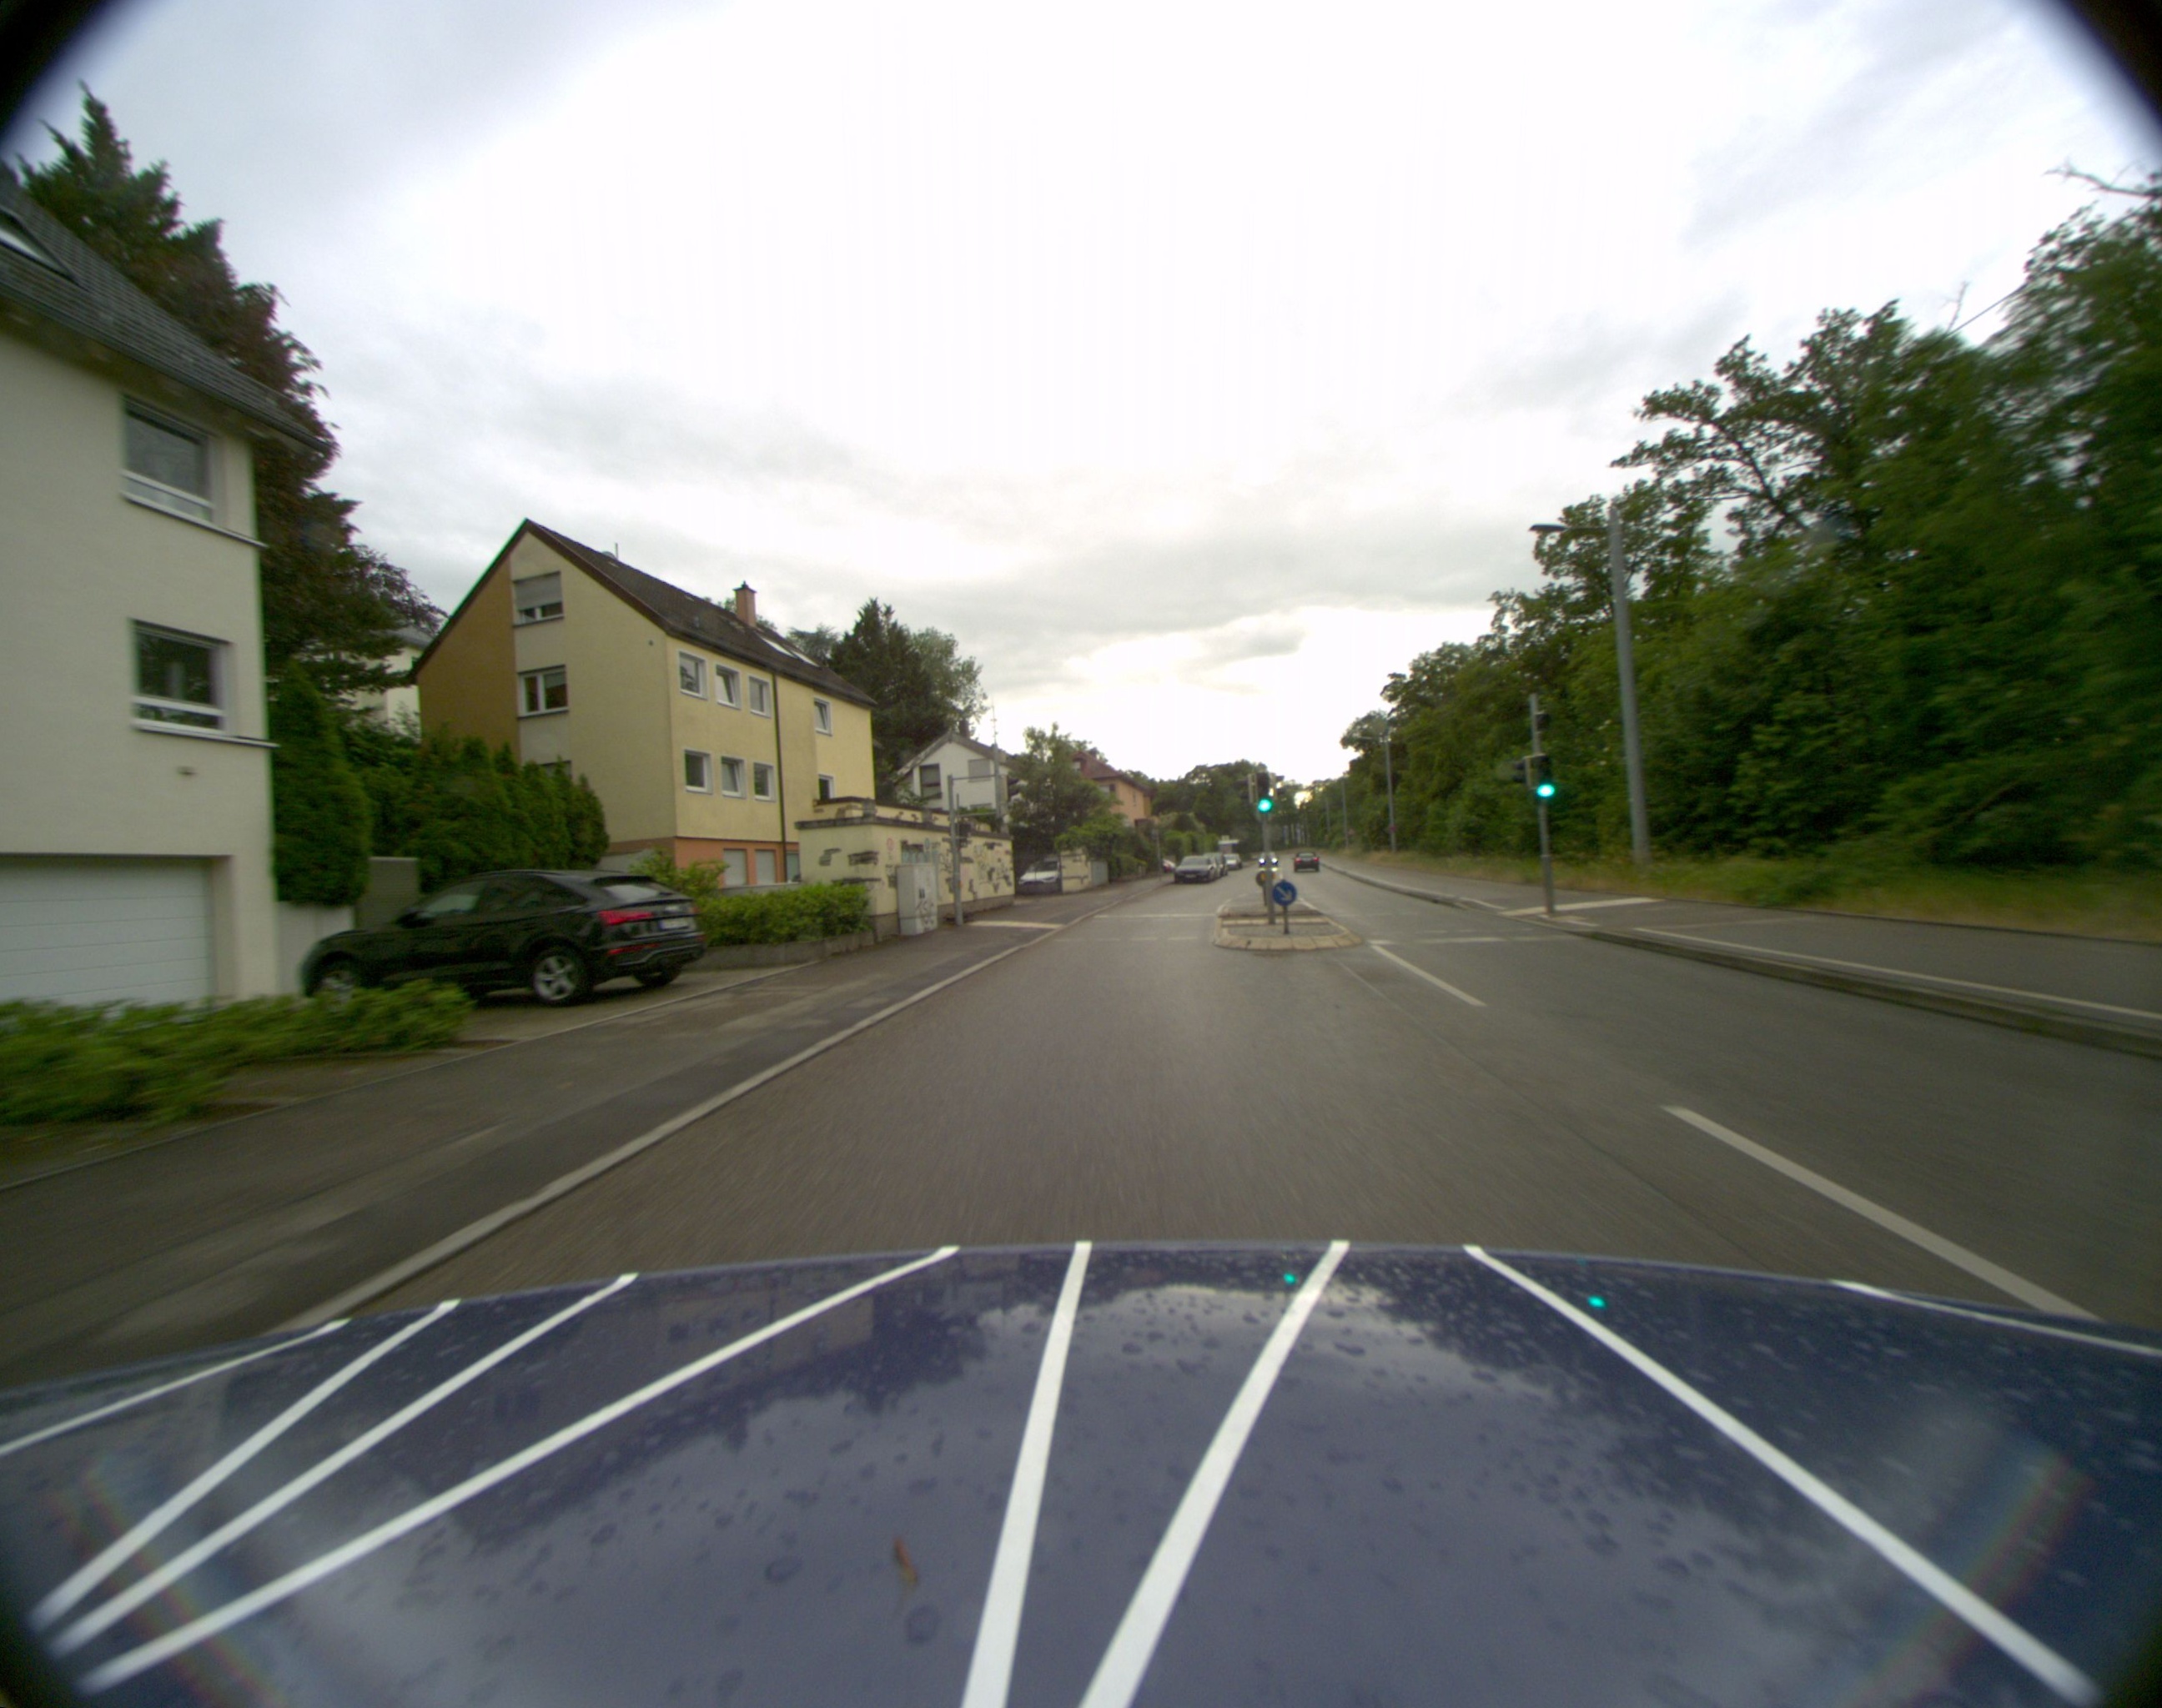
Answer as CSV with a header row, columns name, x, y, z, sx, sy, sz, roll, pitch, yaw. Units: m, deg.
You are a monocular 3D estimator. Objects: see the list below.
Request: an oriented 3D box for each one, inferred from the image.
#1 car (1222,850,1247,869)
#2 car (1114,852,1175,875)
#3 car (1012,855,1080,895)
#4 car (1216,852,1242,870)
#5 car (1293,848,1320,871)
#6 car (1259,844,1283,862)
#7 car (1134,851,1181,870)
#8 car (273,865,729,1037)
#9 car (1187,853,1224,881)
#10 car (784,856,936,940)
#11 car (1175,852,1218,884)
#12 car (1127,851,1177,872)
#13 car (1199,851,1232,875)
name,x,y,z,sx,sy,sz,roll,pitch,yaw
car,14.663,0.503,72.217,1.832,1.538,4.634,-3,1,17
car,4.806,0.730,57.608,4.251,1.452,1.884,-3,1,15
car,-1.597,0.970,36.741,1.935,1.587,4.346,-4,1,15
car,13.238,0.579,67.819,1.815,1.390,4.107,-3,1,16
car,16.252,0.369,54.930,1.746,1.451,4.418,-2,1,16
car,18.459,-0.119,73.863,1.996,1.714,4.005,-2,0,17
car,6.312,0.530,62.450,3.663,1.527,1.830,0,1,12
car,-7.169,1.157,9.689,4.337,1.586,1.993,-6,0,7
car,7.639,0.752,46.345,1.795,1.478,4.499,-3,1,15
car,-5.210,0.972,18.610,1.936,1.586,4.343,-5,0,6
car,6.332,0.722,41.240,1.754,1.435,4.605,-3,1,15
car,5.571,0.556,59.542,3.663,1.557,1.884,-1,1,15
car,9.291,0.577,52.223,1.732,1.558,4.527,-2,0,15
